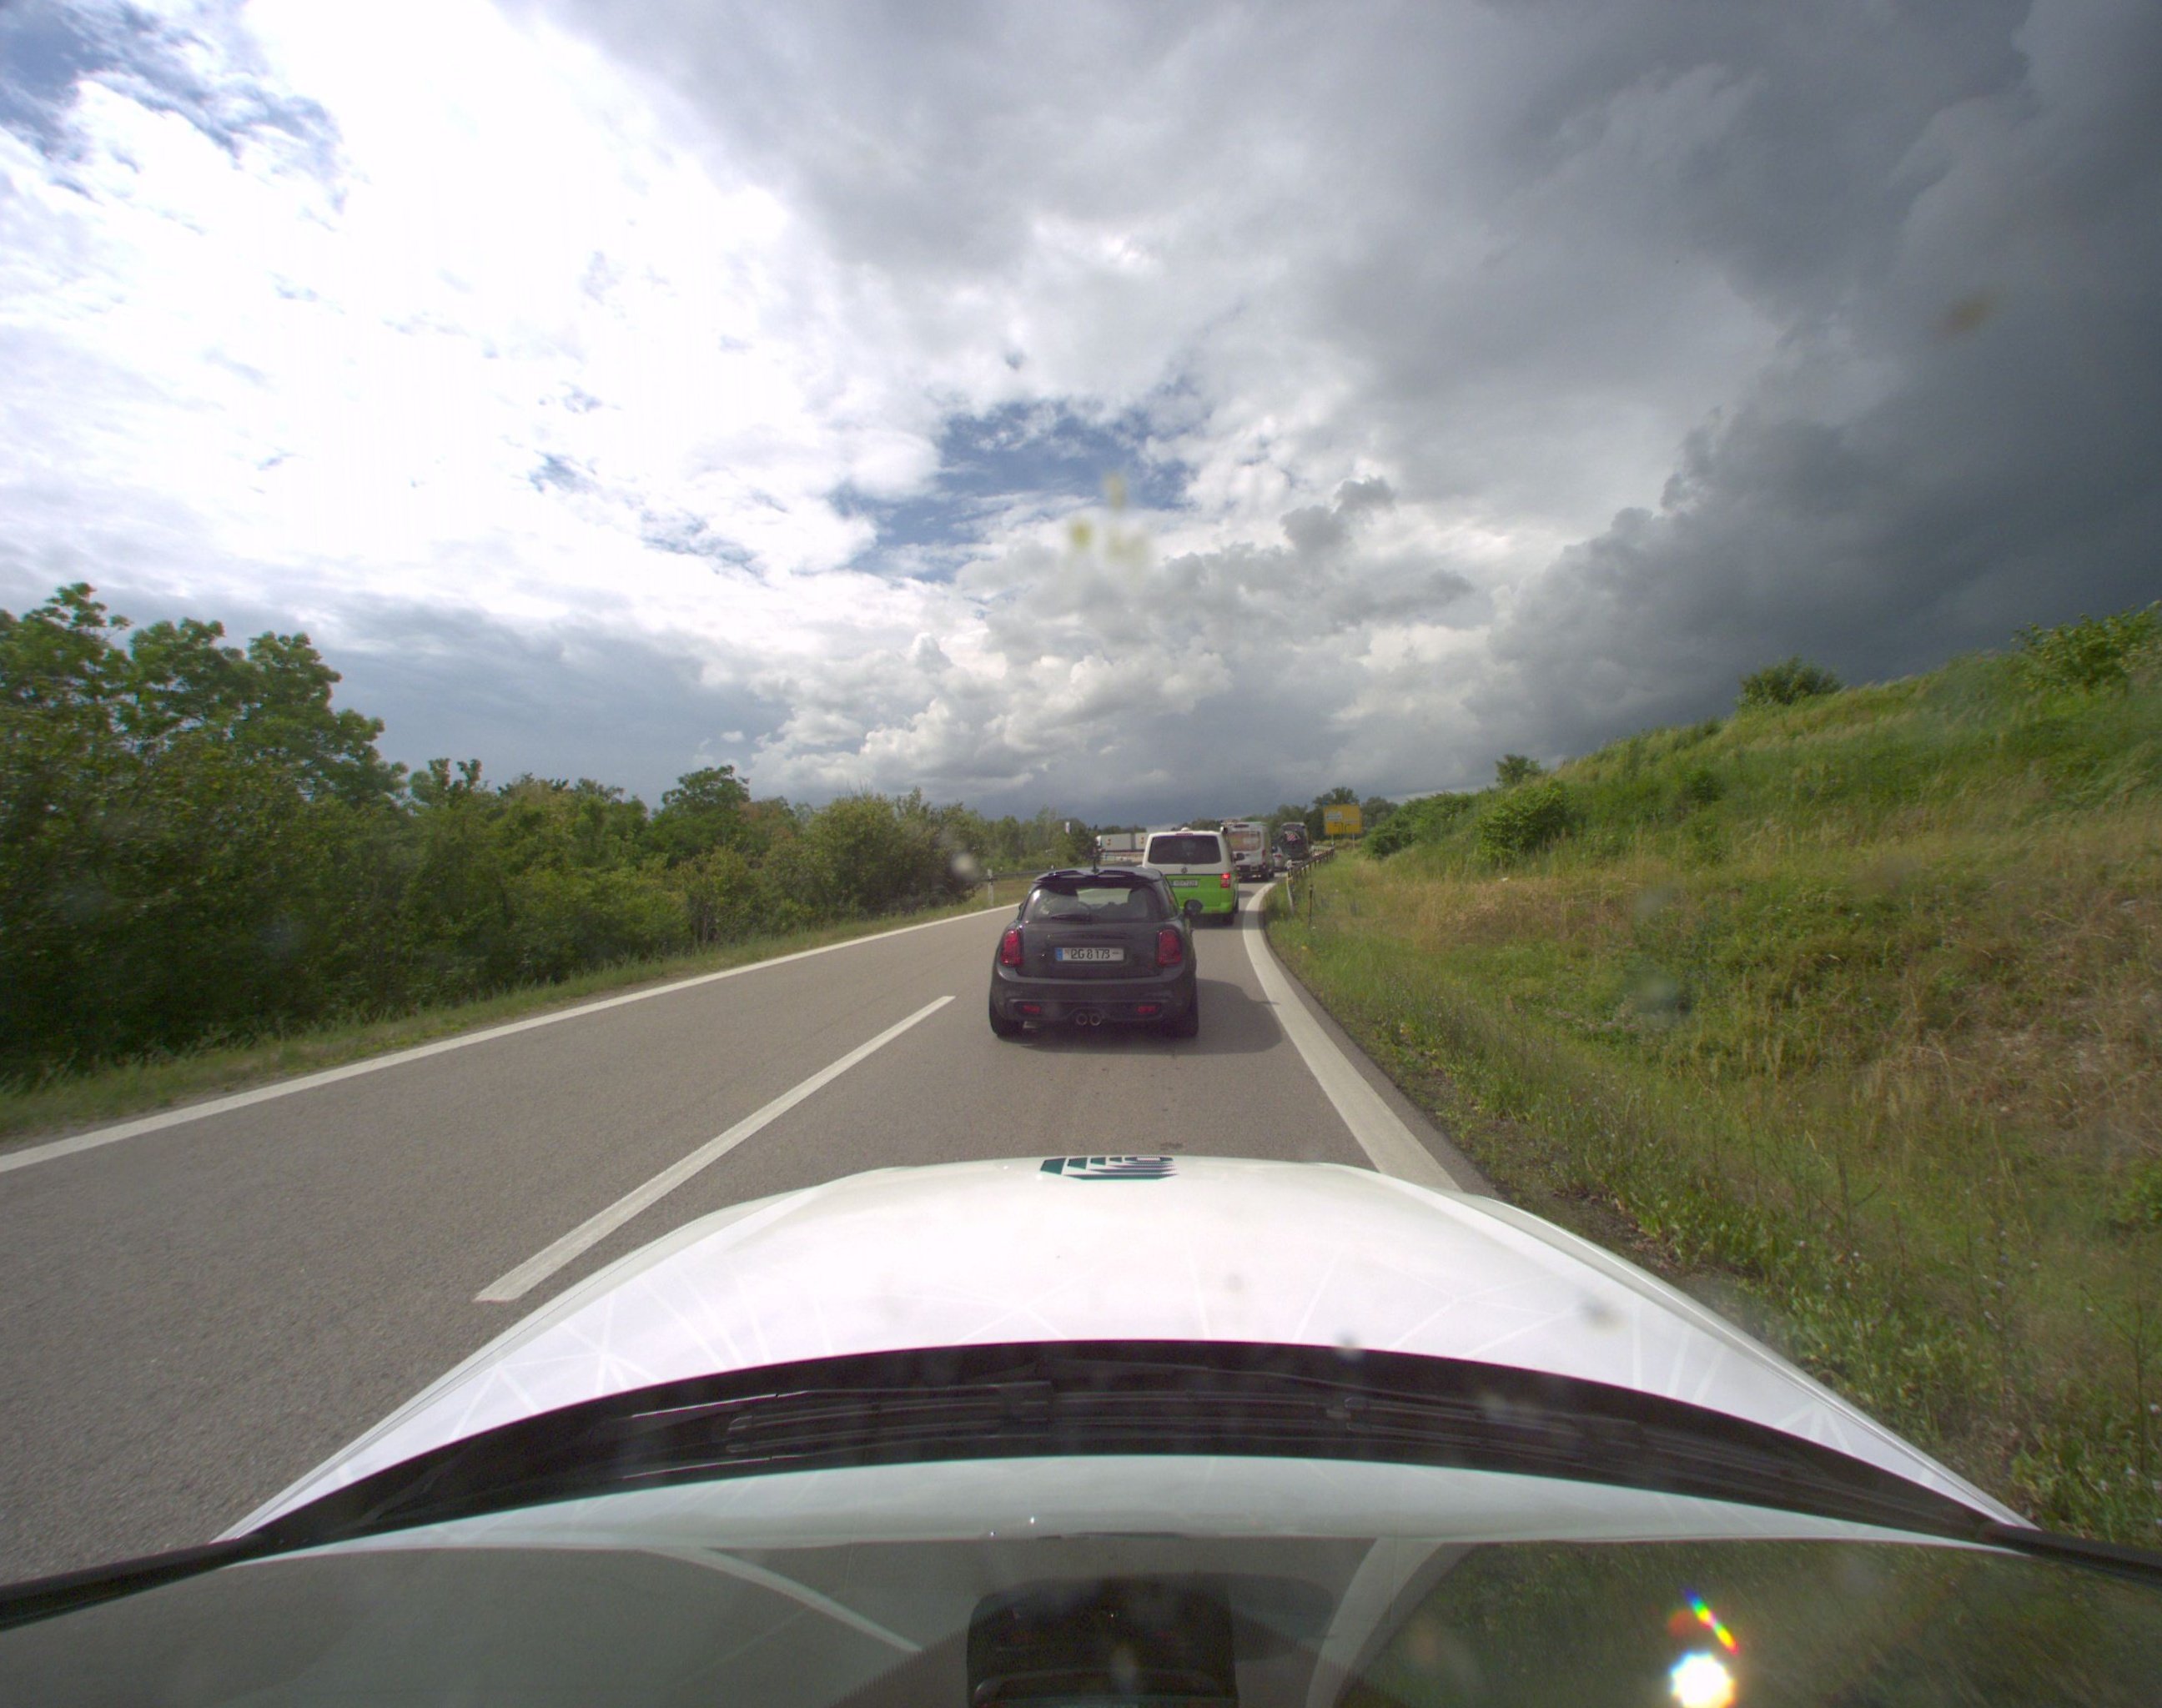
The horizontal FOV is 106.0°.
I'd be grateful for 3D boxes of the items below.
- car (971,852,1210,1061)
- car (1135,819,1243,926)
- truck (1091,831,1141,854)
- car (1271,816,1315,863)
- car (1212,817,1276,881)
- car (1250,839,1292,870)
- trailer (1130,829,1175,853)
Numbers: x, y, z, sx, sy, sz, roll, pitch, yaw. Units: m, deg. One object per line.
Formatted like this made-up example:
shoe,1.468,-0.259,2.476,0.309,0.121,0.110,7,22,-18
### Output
car,0.280,0.776,8.034,1.790,1.546,3.745,-1,0,7
car,2.497,0.367,17.877,1.898,2.045,4.196,-1,0,13
truck,6.330,-2.041,148.757,2.862,3.976,9.906,0,-1,-44
car,14.997,-0.943,57.425,2.291,3.069,6.696,-1,-1,21
car,7.402,-0.194,36.500,2.194,2.622,5.559,-1,-1,18
car,10.668,0.037,45.578,1.978,1.642,3.946,-1,-1,17
trailer,12.297,-2.178,141.567,3.058,3.898,8.680,0,-1,-34
